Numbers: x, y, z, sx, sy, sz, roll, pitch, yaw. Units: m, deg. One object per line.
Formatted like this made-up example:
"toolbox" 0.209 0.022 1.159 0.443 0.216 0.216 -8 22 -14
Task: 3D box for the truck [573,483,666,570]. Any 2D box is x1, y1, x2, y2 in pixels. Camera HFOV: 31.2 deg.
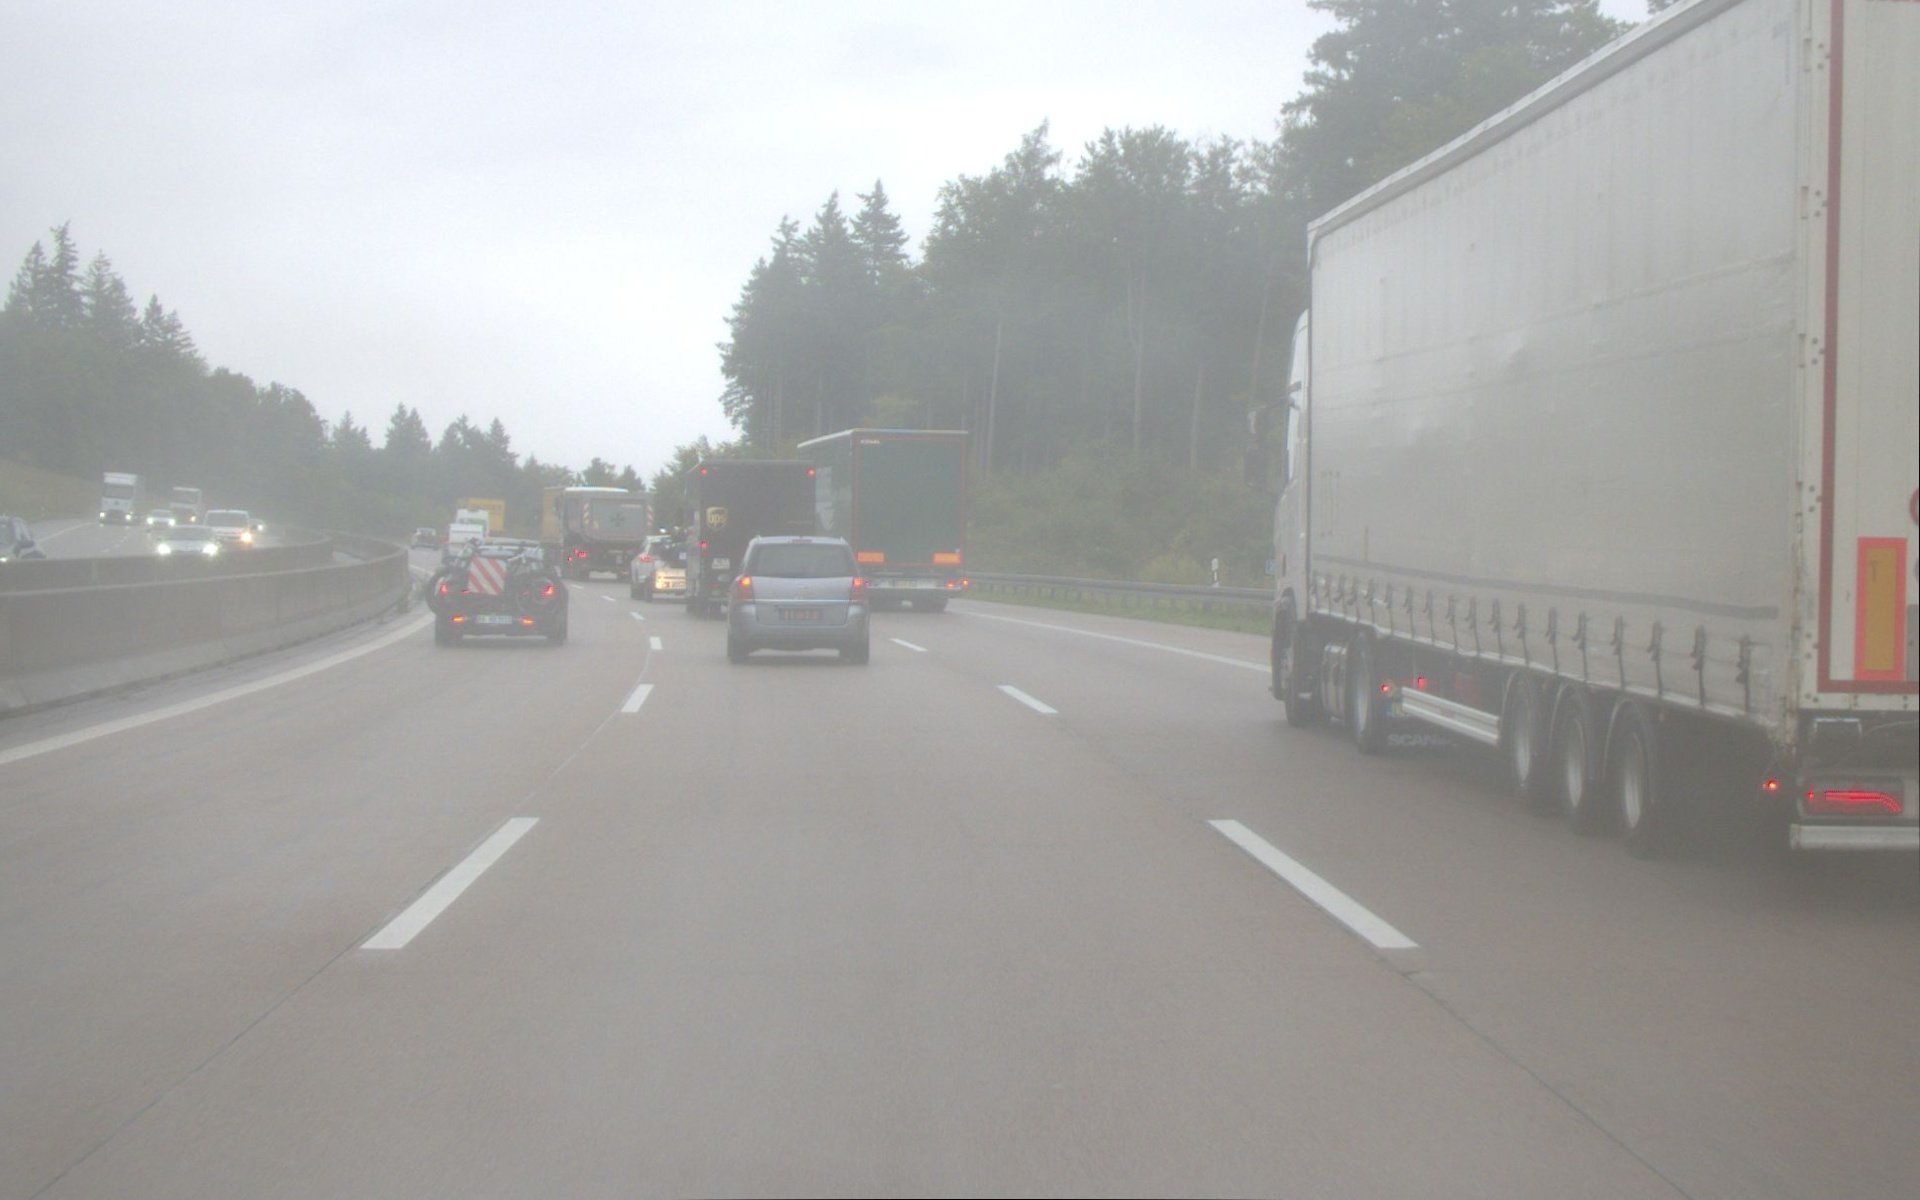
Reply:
"truck" -11.842 -2.580 119.059 3.082 2.895 7.905 0 2 -6

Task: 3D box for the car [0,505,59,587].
"car" -16.911 -0.940 59.919 1.621 1.388 4.001 0 1 -4

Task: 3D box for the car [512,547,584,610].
"car" -10.232 -0.552 85.469 1.683 1.457 3.684 1 1 -6

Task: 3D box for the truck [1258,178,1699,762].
"truck" 3.823 -0.941 26.380 2.419 4.054 4.979 0 1 -3

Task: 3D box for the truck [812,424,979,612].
"truck" -1.634 -1.890 80.630 3.368 4.117 10.439 0 1 -4

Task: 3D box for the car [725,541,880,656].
"car" -2.050 -0.049 43.920 1.553 1.347 3.685 1 1 -9

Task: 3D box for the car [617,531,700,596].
"car" -7.305 -0.906 83.641 1.881 1.468 4.001 2 1 -4

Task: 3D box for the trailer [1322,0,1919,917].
"trailer" 4.148 -0.901 19.349 2.419 4.054 12.056 0 1 -3

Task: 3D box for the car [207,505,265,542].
"car" -27.877 -2.948 132.474 1.621 1.388 4.001 0 1 -4

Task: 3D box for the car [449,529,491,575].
"car" -21.771 -2.129 152.920 1.725 2.007 3.657 0 0 -7

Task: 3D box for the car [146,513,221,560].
"car" -23.473 -1.914 104.069 1.621 1.388 4.001 0 1 -4

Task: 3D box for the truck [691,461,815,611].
"truck" -4.276 -1.344 69.784 2.269 2.877 7.905 0 2 -5
